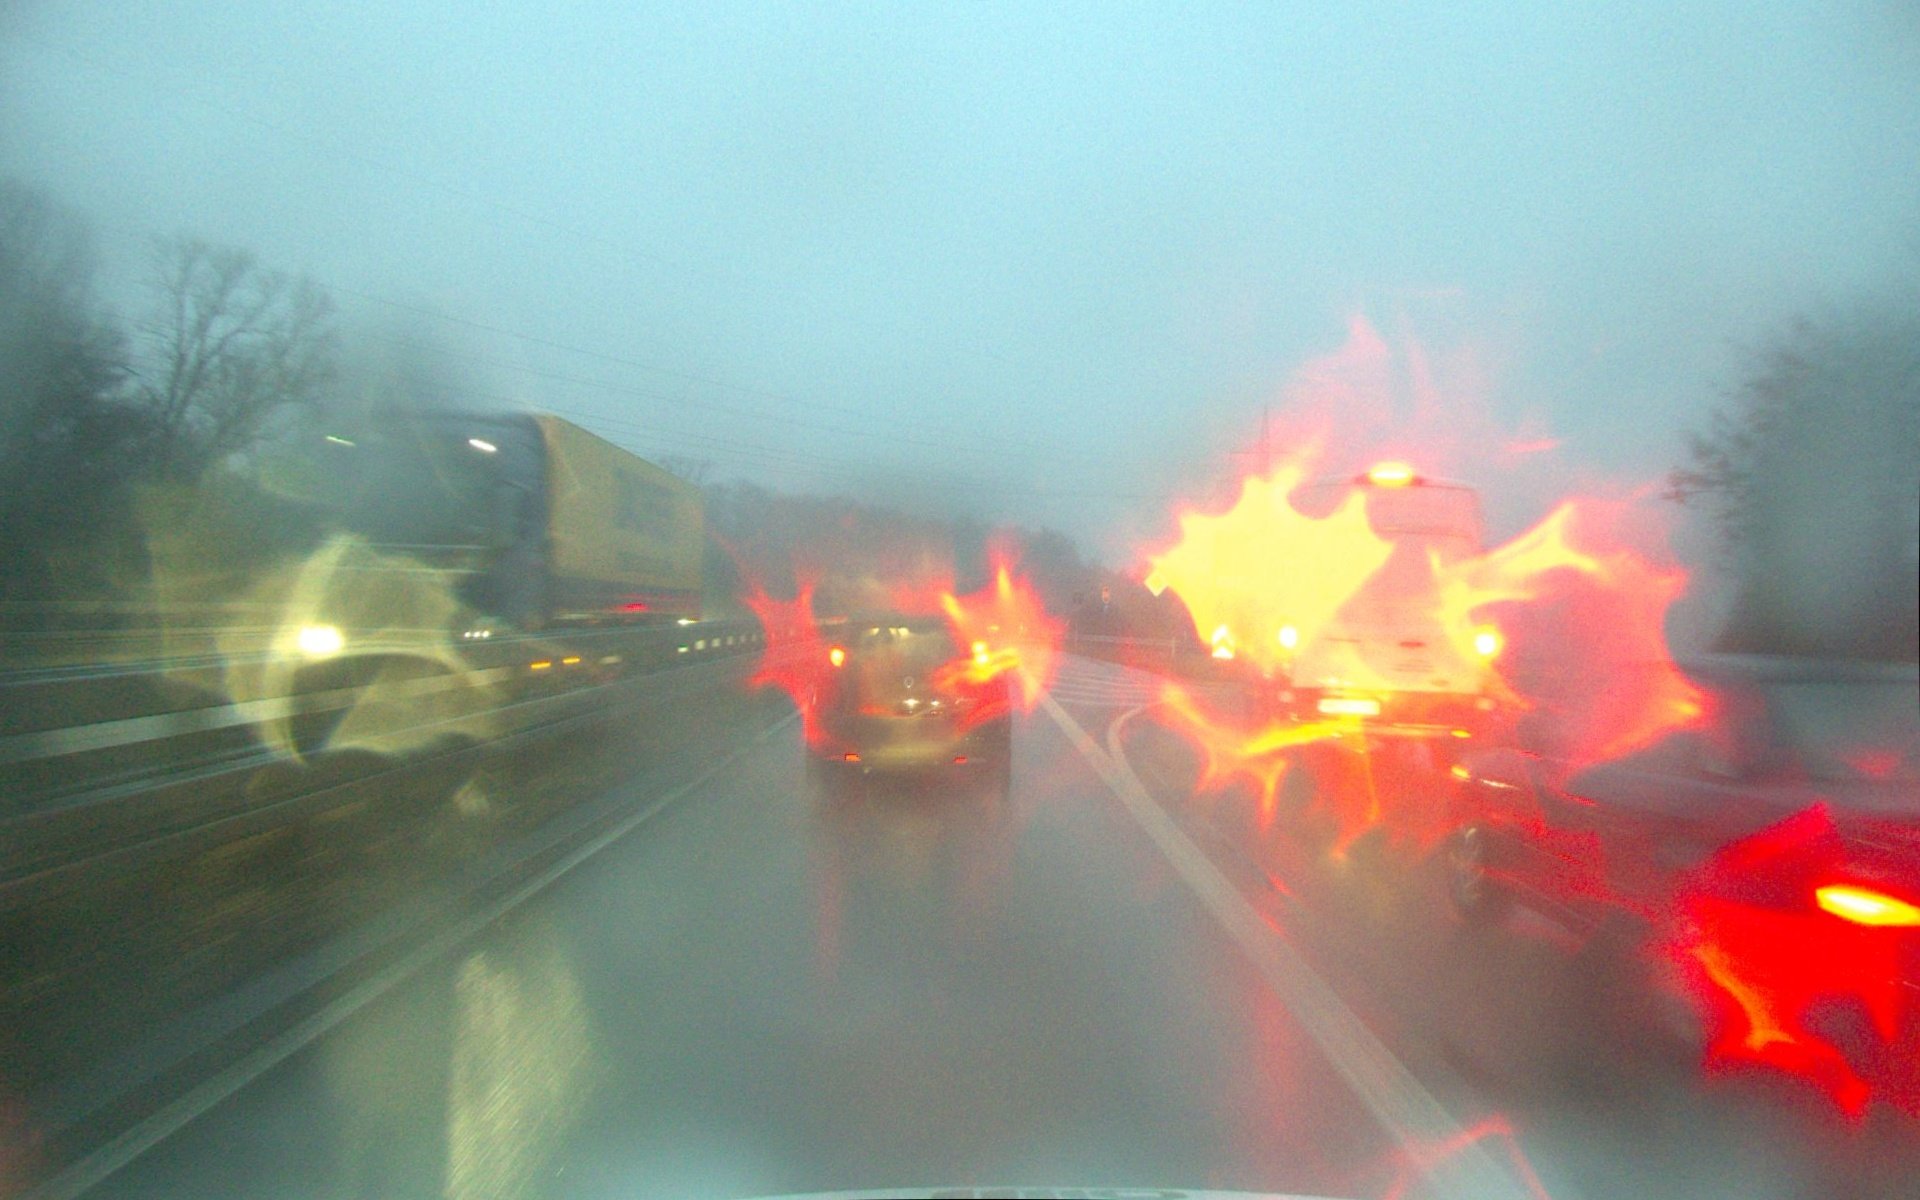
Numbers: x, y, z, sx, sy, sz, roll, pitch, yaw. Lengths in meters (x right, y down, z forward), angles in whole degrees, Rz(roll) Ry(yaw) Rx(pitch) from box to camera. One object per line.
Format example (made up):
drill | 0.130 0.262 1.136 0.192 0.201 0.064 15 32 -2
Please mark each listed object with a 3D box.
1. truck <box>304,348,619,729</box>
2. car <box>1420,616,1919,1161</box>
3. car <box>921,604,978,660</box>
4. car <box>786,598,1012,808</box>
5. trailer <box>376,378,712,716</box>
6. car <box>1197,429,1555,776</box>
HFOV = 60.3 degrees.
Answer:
truck | -6.784 -0.759 23.515 2.542 4.660 6.357 0 0 0
car | 3.320 0.863 6.778 1.701 1.439 4.379 3 0 2
car | -0.412 1.169 62.004 1.953 1.846 3.999 3 1 -1
car | -0.412 0.813 14.498 1.694 1.559 4.042 1 -1 1
trailer | -6.819 -0.664 29.802 2.574 4.665 13.323 1 -1 0
car | 4.144 0.048 17.830 2.235 3.018 6.390 1 -1 0
